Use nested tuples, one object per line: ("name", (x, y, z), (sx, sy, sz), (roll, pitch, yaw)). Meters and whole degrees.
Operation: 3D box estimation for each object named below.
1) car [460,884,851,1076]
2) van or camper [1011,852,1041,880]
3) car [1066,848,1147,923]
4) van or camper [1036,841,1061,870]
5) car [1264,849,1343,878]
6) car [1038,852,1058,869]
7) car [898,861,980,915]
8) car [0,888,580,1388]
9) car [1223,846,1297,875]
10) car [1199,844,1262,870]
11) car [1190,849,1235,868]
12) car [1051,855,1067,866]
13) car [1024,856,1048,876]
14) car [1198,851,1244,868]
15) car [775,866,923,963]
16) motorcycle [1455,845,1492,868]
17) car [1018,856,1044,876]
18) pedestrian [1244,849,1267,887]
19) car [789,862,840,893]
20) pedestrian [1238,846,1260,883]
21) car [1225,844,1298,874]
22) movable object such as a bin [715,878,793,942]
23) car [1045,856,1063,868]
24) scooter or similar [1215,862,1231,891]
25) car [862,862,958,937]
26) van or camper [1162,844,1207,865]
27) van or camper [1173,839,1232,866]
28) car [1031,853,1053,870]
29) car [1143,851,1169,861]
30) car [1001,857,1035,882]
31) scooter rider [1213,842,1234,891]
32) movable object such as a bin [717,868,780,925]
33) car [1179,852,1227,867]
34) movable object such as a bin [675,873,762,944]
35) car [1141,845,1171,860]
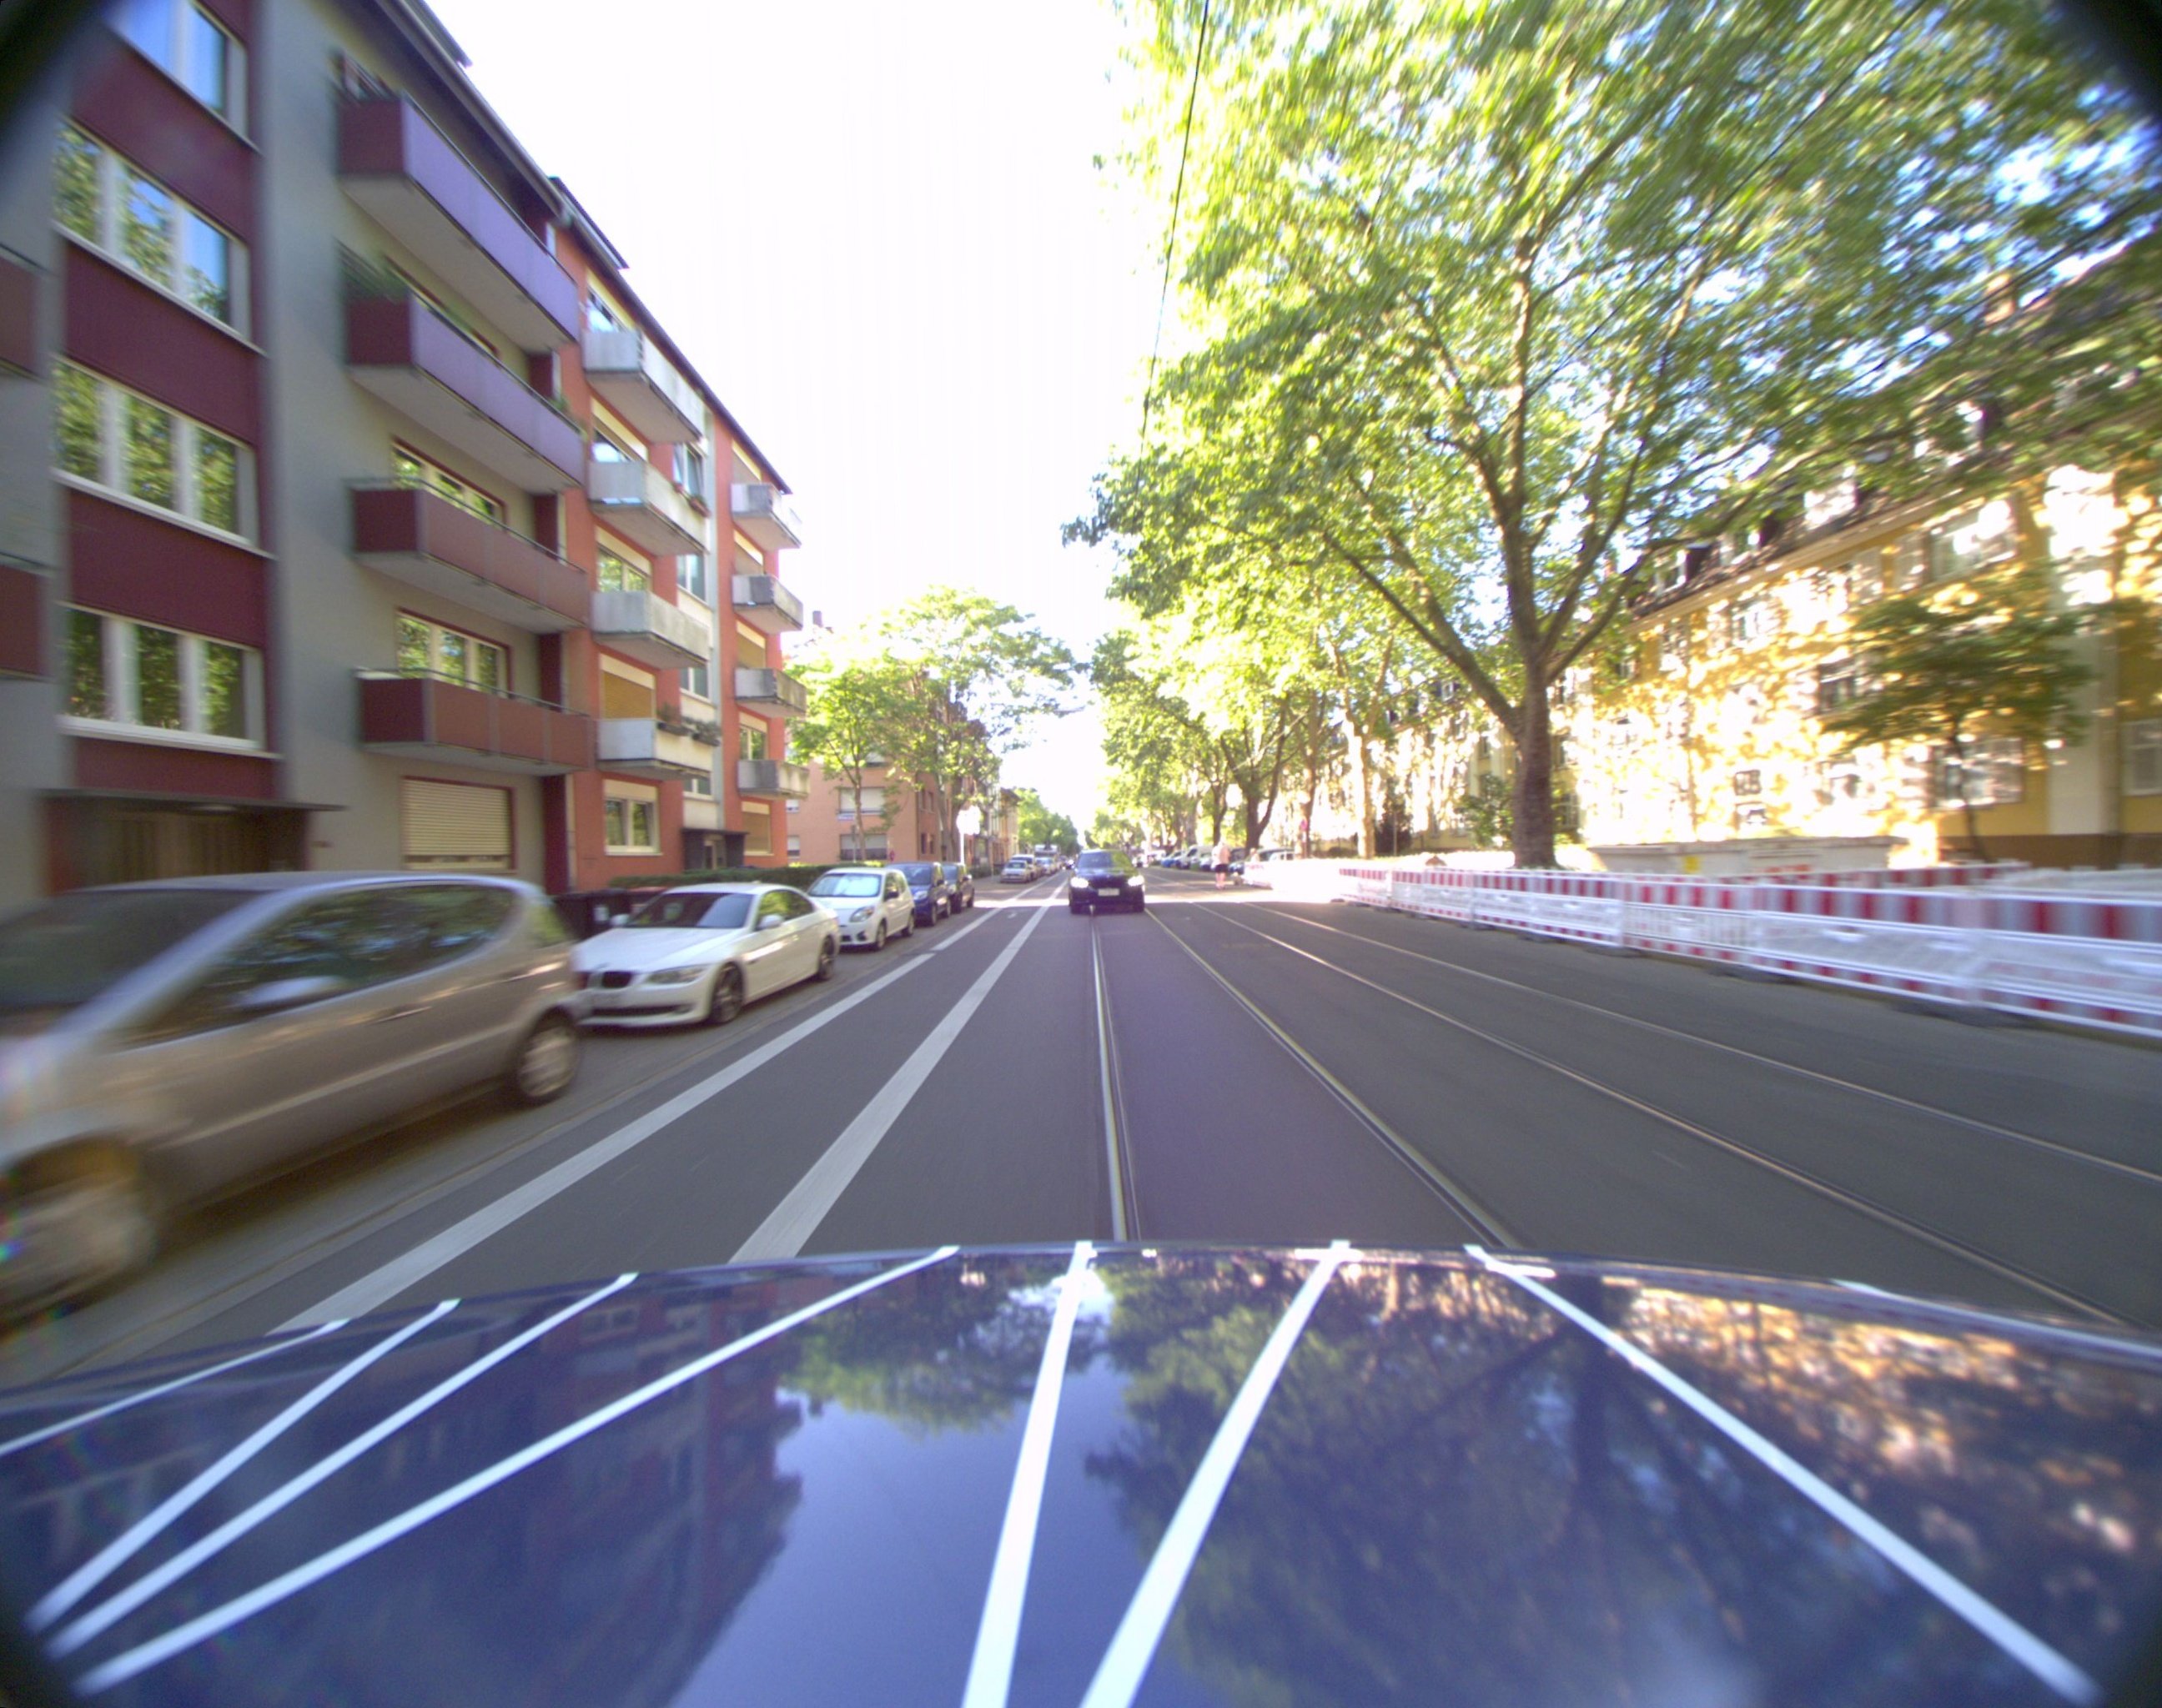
("car", (-4.279, 1.141, 8.712), (1.663, 1.391, 4.740), (0, 0, 2))
("van or camper", (-3.800, 0.781, 53.407), (1.759, 1.853, 4.830), (-1, 0, 0))
("car", (0.639, 0.764, 20.846), (1.924, 1.741, 4.806), (-2, 0, 0))
("van or camper", (-3.400, 0.146, 81.000), (2.468, 3.046, 6.267), (0, 0, -1))
("car", (12.329, 0.519, 42.334), (3.857, 1.489, 1.862), (-1, 0, 1))
("car", (-3.198, 0.615, 74.586), (1.797, 1.618, 4.276), (0, 0, 0))
("car", (-4.213, 0.979, 23.167), (1.738, 1.453, 3.916), (0, 0, 0))
("car", (-4.491, 1.038, 3.696), (1.664, 1.571, 3.589), (0, 0, 1))
("car", (10.909, 0.369, 46.485), (4.242, 1.678, 1.934), (-1, 0, 8))
("car", (12.152, 0.243, 61.901), (4.669, 1.934, 1.961), (-2, 0, -2))
("car", (12.137, 0.393, 70.532), (3.857, 1.653, 1.862), (-1, 0, 1))
("car", (-3.017, 0.883, 103.207), (1.998, 1.372, 4.739), (0, 0, 0))
("car", (-3.724, 0.982, 63.544), (1.772, 1.563, 4.337), (0, 0, 0))
("car", (12.554, 0.479, 68.273), (3.857, 1.489, 1.862), (-1, 0, 1))
("car", (-4.288, 1.047, 14.655), (1.595, 1.518, 3.835), (1, 1, 1))
("motorcycle", (21.461, 0.126, 41.534), (1.714, 1.234, 0.523), (-1, 1, 2))
("car", (-3.836, 0.932, 59.109), (1.710, 1.464, 4.168), (-1, 0, 1))
("pedestrian", (8.164, 0.659, 35.622), (0.824, 1.735, 0.796), (-3, 1, 1))
("car", (-14.327, 1.216, 40.720), (1.730, 1.531, 3.990), (-2, 0, -31))
("pedestrian", (8.053, 0.486, 36.518), (0.824, 1.735, 0.796), (-3, 1, 1))
("car", (11.524, 0.334, 48.732), (4.210, 1.747, 1.739), (-2, 0, -1))
("movable object such as a bin", (-7.607, 1.275, 17.772), (0.969, 1.319, 1.721), (-3, 1, 1))
("car", (-3.296, 0.973, 94.020), (1.998, 1.485, 4.740), (0, 0, 1))
("scooter or similar", (5.701, 0.901, 30.539), (0.408, 1.077, 1.338), (-3, 1, 1))
("car", (-4.192, 1.053, 19.175), (1.530, 1.581, 3.751), (-3, 1, -1))
("van or camper", (11.958, 0.047, 87.895), (4.832, 2.177, 2.119), (-2, 0, 0))
("van or camper", (12.025, -0.137, 75.259), (5.403, 2.501, 2.445), (-2, 0, 0))
("car", (-3.488, 0.638, 68.289), (1.793, 1.513, 4.321), (0, 0, -1))
("car", (12.456, 0.355, 126.313), (4.170, 1.506, 1.925), (-2, 0, -1))
("car", (-3.920, 0.961, 47.871), (1.710, 1.464, 4.000), (-1, 0, 1))
("scooter rider", (5.749, 0.492, 30.661), (0.651, 1.946, 0.624), (-3, 1, 1))
("movable object such as a bin", (-8.316, 1.050, 19.041), (1.155, 1.319, 0.775), (-3, 1, 1))
("car", (11.672, 0.537, 72.724), (4.274, 1.390, 1.753), (-1, 0, 1))
("movable object such as a bin", (-7.579, 1.111, 15.981), (0.926, 1.319, 1.681), (-3, 1, 1))
("car", (13.102, -0.235, 133.592), (5.019, 2.383, 2.028), (-2, 0, -1))
